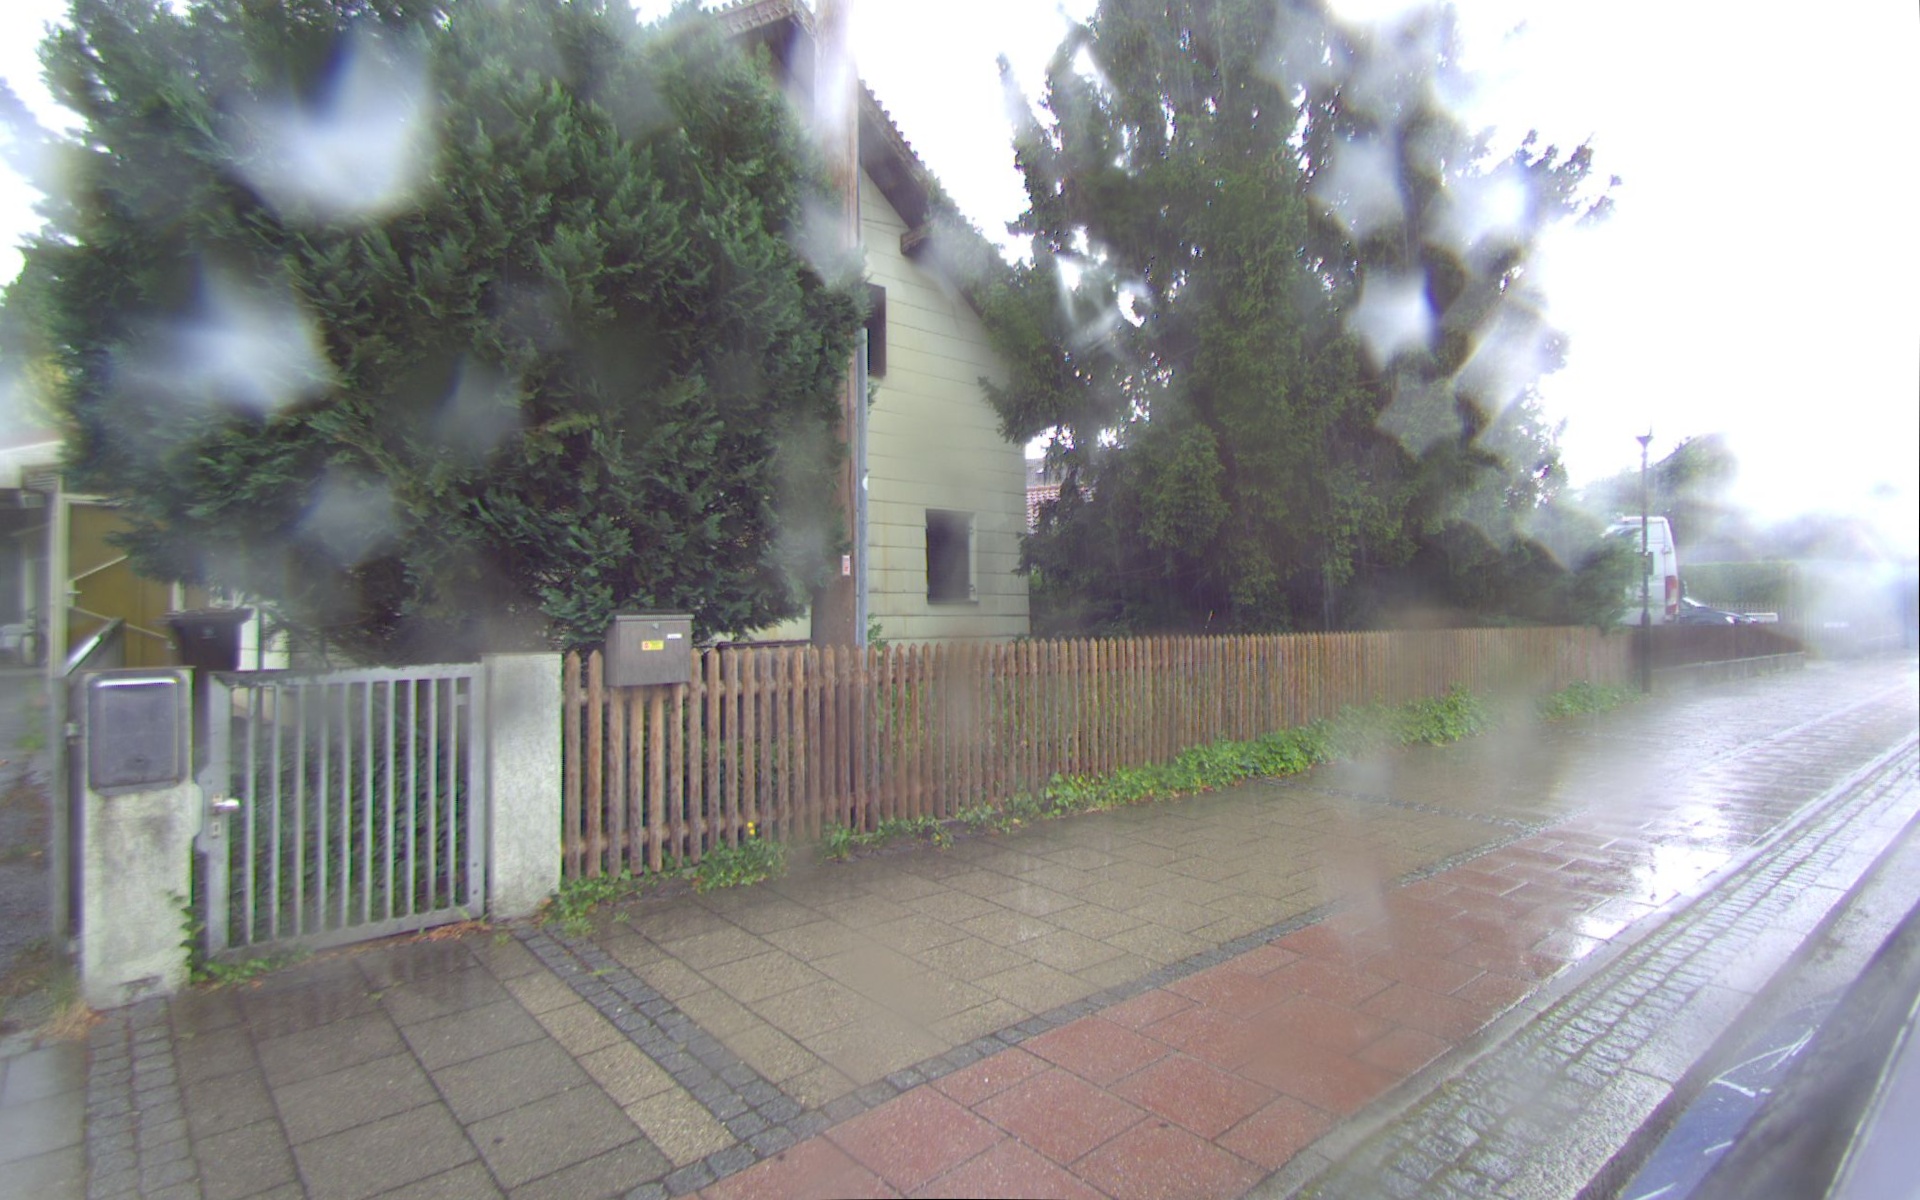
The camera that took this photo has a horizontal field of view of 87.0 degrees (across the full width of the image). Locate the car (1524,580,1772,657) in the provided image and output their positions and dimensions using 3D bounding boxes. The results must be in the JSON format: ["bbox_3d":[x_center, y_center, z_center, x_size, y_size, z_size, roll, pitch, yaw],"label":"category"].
[{"bbox_3d":[15.484,0.335,22.926,4.428,1.438,1.803,3,3,42],"label":"car"}]

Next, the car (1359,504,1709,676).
[{"bbox_3d":[10.447,-0.274,18.719,5.298,2.761,1.971,3,2,41],"label":"car"}]
